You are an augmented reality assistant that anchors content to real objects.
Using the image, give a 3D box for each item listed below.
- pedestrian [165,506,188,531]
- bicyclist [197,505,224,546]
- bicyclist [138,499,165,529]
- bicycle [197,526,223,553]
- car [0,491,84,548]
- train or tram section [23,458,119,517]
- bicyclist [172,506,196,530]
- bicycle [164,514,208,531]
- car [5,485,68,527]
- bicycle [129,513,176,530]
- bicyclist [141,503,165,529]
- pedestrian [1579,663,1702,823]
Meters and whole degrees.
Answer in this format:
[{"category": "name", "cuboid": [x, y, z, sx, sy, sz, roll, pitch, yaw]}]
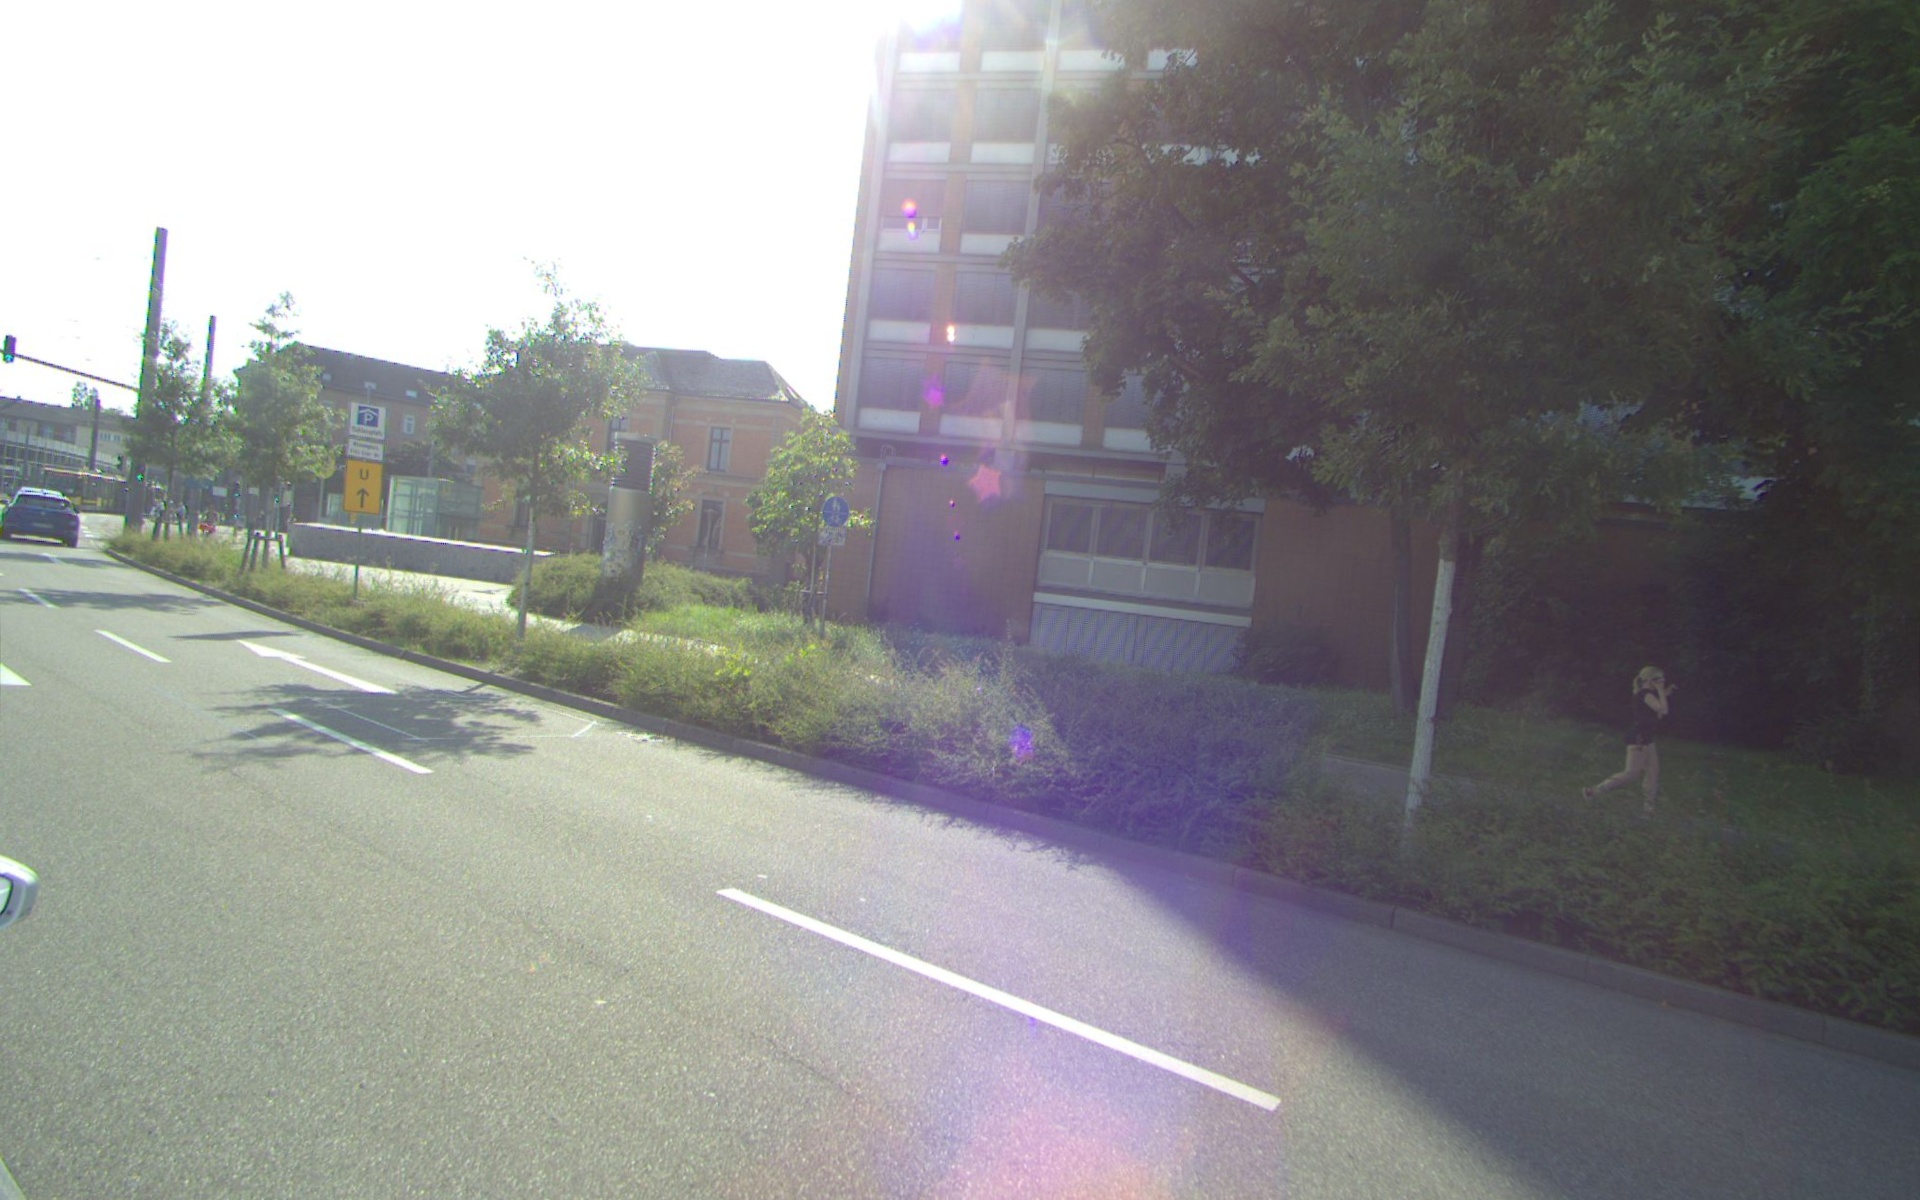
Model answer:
[{"category": "pedestrian", "cuboid": [-61.458, -6.407, 78.901, 0.844, 1.820, 0.928, 7, 1, 2]}, {"category": "bicyclist", "cuboid": [-30.121, -2.994, 40.440, 0.716, 1.532, 0.993, 6, 1, -40]}, {"category": "bicyclist", "cuboid": [-61.716, -6.540, 76.796, 1.072, 2.050, 0.937, 7, 1, 6]}, {"category": "bicycle", "cuboid": [-30.140, -2.430, 40.405, 0.716, 0.972, 1.901, 6, 1, -38]}, {"category": "car", "cuboid": [-29.573, -2.619, 32.166, 4.352, 1.446, 1.822, 7, 1, 43]}, {"category": "train or tram section", "cuboid": [-69.459, -8.664, 78.882, 2.630, 3.746, 10.518, 6, 1, -26]}, {"category": "bicyclist", "cuboid": [-62.680, -6.608, 81.246, 1.072, 1.701, 0.937, 7, 1, 20]}, {"category": "bicycle", "cuboid": [-62.665, -6.230, 81.440, 1.073, 0.976, 2.626, 7, 0, 19]}, {"category": "car", "cuboid": [-39.160, -4.004, 42.673, 1.819, 1.446, 4.358, 6, 1, -43]}, {"category": "bicycle", "cuboid": [-63.124, -6.147, 78.684, 1.073, 0.976, 2.626, 7, 0, 19]}, {"category": "bicyclist", "cuboid": [-63.078, -6.571, 78.658, 1.072, 1.822, 0.937, 7, 1, 19]}, {"category": "pedestrian", "cuboid": [7.007, 1.442, 10.359, 0.845, 1.461, 0.724, 7, 1, 40]}]
